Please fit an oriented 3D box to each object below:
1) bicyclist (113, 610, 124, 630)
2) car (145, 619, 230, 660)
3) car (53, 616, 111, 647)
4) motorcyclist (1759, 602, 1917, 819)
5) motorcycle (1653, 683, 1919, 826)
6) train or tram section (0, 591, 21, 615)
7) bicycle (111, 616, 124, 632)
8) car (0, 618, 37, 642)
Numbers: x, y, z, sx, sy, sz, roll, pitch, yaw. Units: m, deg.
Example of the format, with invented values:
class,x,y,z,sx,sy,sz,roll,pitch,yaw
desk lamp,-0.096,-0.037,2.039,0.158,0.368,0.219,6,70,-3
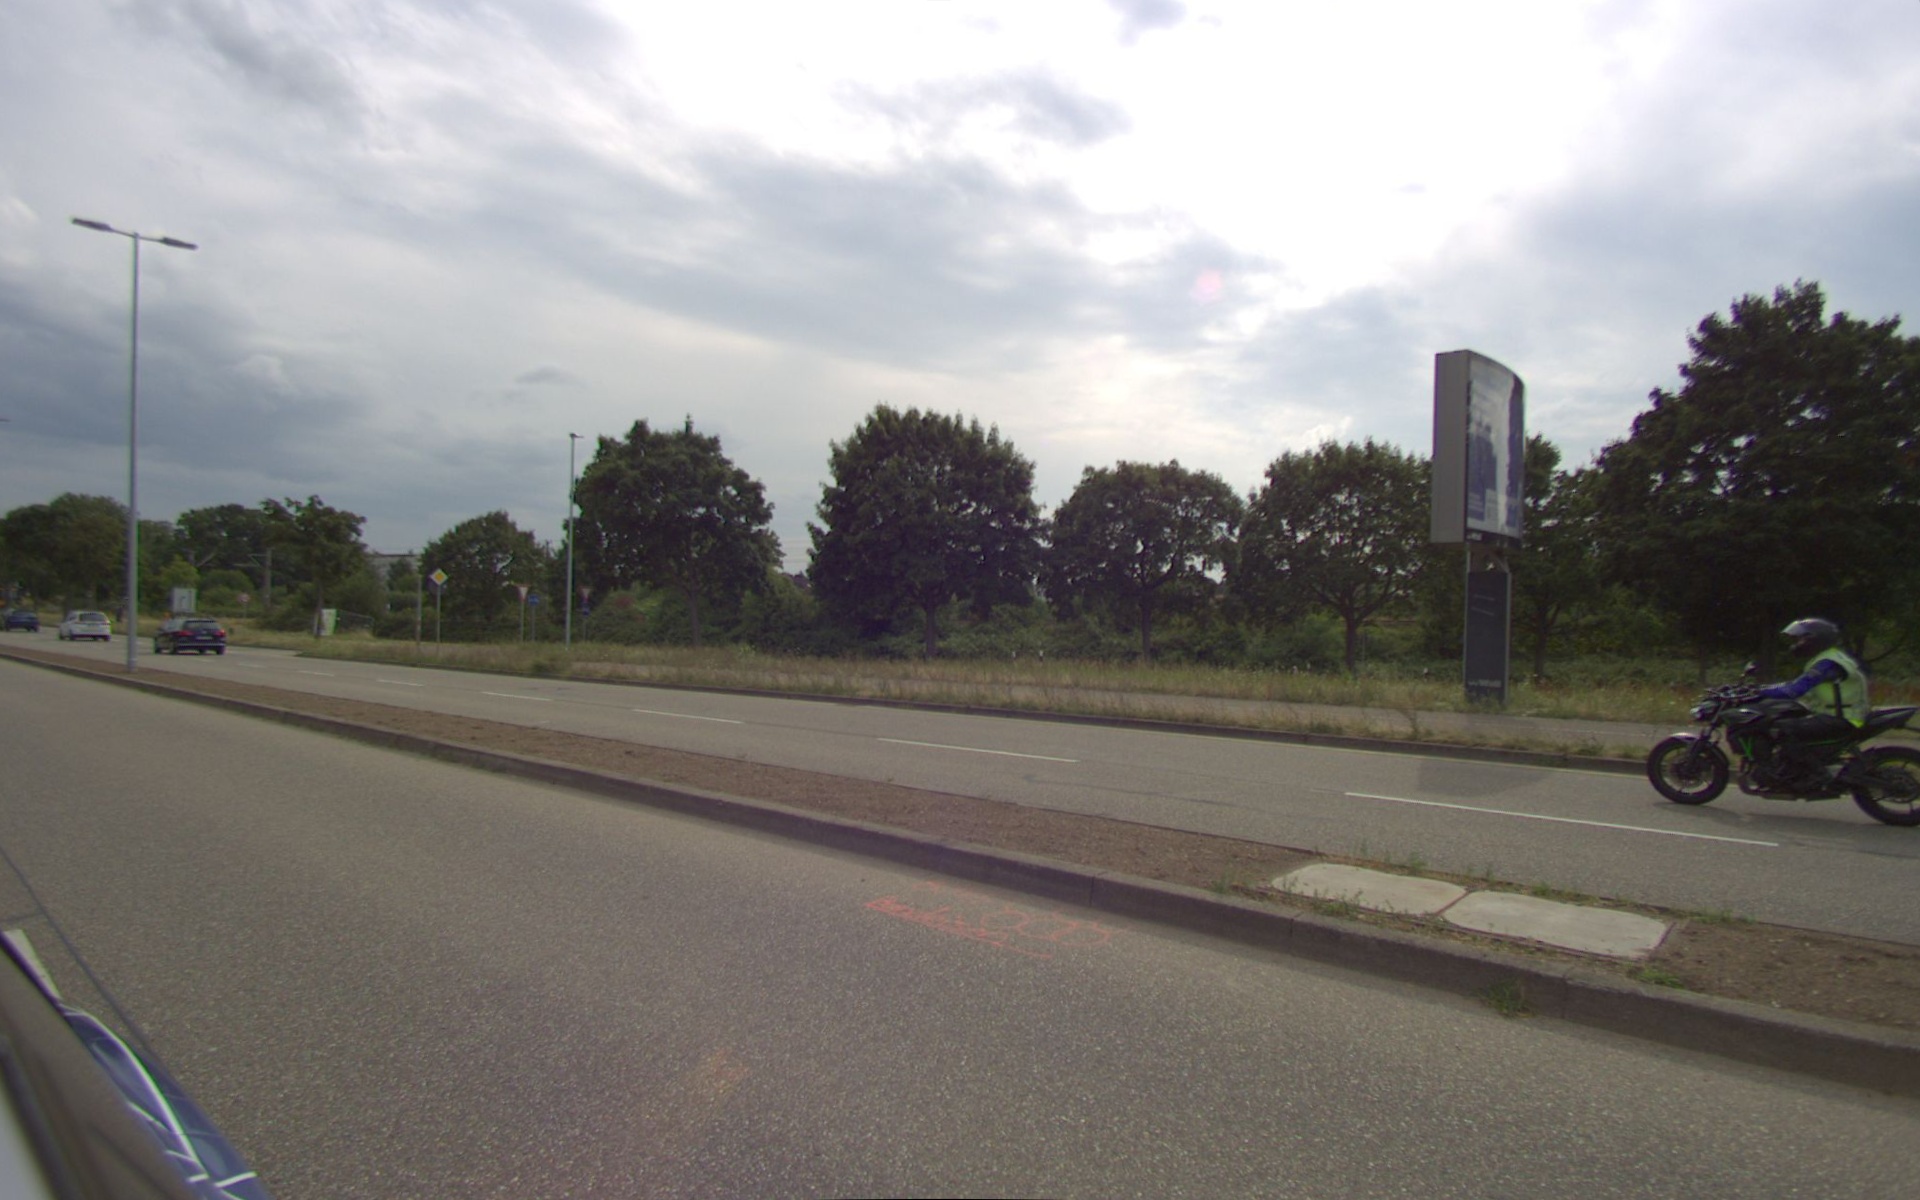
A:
class,x,y,z,sx,sy,sz,roll,pitch,yaw
bicyclist,-78.735,1.838,94.677,0.818,1.846,0.637,-1,-2,40
car,-31.942,1.607,41.794,4.737,1.544,1.750,0,-2,40
car,-50.704,1.802,58.440,4.635,1.666,1.750,0,-3,40
motorcyclist,6.980,0.835,8.080,0.896,1.600,0.762,-1,-3,41
motorcycle,6.927,1.210,8.105,2.219,0.974,0.517,-1,-2,42
train or tram section,-139.144,0.429,144.865,11.880,3.447,2.898,0,0,26
bicycle,-78.855,2.212,94.731,2.165,1.433,0.530,0,-3,41
car,-68.888,2.202,73.731,4.560,1.666,1.828,0,-2,40
